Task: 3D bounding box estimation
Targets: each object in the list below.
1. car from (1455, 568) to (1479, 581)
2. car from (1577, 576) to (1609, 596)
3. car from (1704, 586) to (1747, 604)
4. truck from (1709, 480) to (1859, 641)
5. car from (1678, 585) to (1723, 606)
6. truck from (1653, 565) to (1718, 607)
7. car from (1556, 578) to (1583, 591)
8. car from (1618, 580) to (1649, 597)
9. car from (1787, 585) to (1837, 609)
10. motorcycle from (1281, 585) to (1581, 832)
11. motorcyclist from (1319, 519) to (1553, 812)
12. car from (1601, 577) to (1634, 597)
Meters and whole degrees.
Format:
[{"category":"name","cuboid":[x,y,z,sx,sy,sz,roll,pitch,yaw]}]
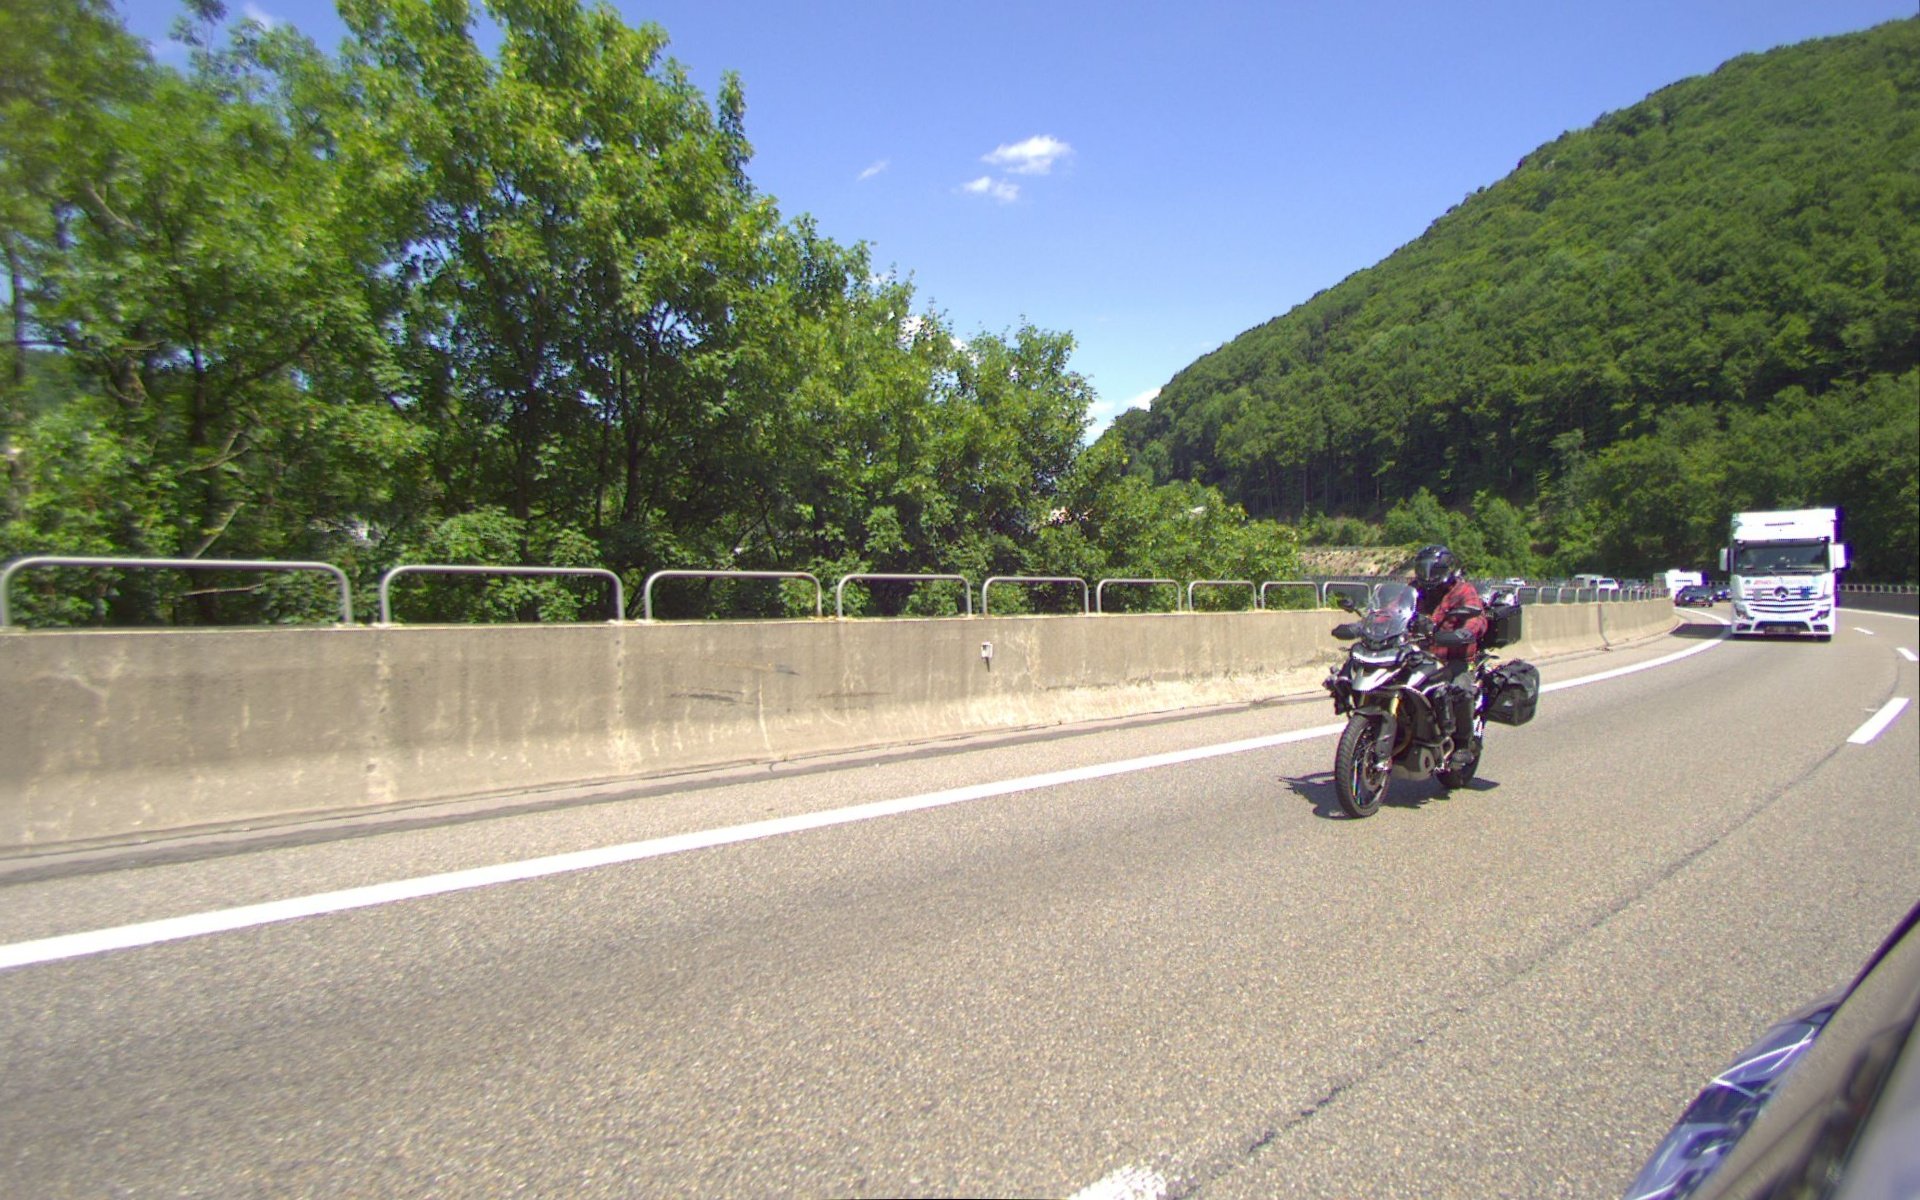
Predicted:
[{"category":"car","cuboid":[85.290,-4.275,170.274,1.963,2.039,3.998,1,1,2]},{"category":"car","cuboid":[70.717,-1.575,113.090,1.973,2.038,3.979,2,2,17]},{"category":"car","cuboid":[64.888,-0.486,85.851,1.978,1.471,3.968,1,1,24]},{"category":"truck","cuboid":[27.605,-1.099,33.428,2.960,4.184,16.452,1,1,42]},{"category":"car","cuboid":[54.556,-0.370,74.643,1.736,1.507,3.952,1,1,23]},{"category":"truck","cuboid":[56.891,-1.136,79.566,2.588,3.141,6.804,0,1,22]},{"category":"car","cuboid":[83.252,-2.099,138.264,1.971,1.816,3.982,0,1,14]},{"category":"car","cuboid":[75.882,-1.279,114.072,1.974,1.816,3.976,1,1,19]},{"category":"car","cuboid":[54.641,-0.209,64.938,1.742,1.507,3.940,1,1,30]},{"category":"motorcycle","cuboid":[3.408,0.621,7.162,2.635,1.437,0.974,0,1,-42]},{"category":"motorcyclist","cuboid":[3.368,0.395,7.153,1.315,1.823,1.062,0,1,-42]},{"category":"car","cuboid":[68.581,-1.334,105.672,1.975,2.039,3.975,1,1,19]}]
